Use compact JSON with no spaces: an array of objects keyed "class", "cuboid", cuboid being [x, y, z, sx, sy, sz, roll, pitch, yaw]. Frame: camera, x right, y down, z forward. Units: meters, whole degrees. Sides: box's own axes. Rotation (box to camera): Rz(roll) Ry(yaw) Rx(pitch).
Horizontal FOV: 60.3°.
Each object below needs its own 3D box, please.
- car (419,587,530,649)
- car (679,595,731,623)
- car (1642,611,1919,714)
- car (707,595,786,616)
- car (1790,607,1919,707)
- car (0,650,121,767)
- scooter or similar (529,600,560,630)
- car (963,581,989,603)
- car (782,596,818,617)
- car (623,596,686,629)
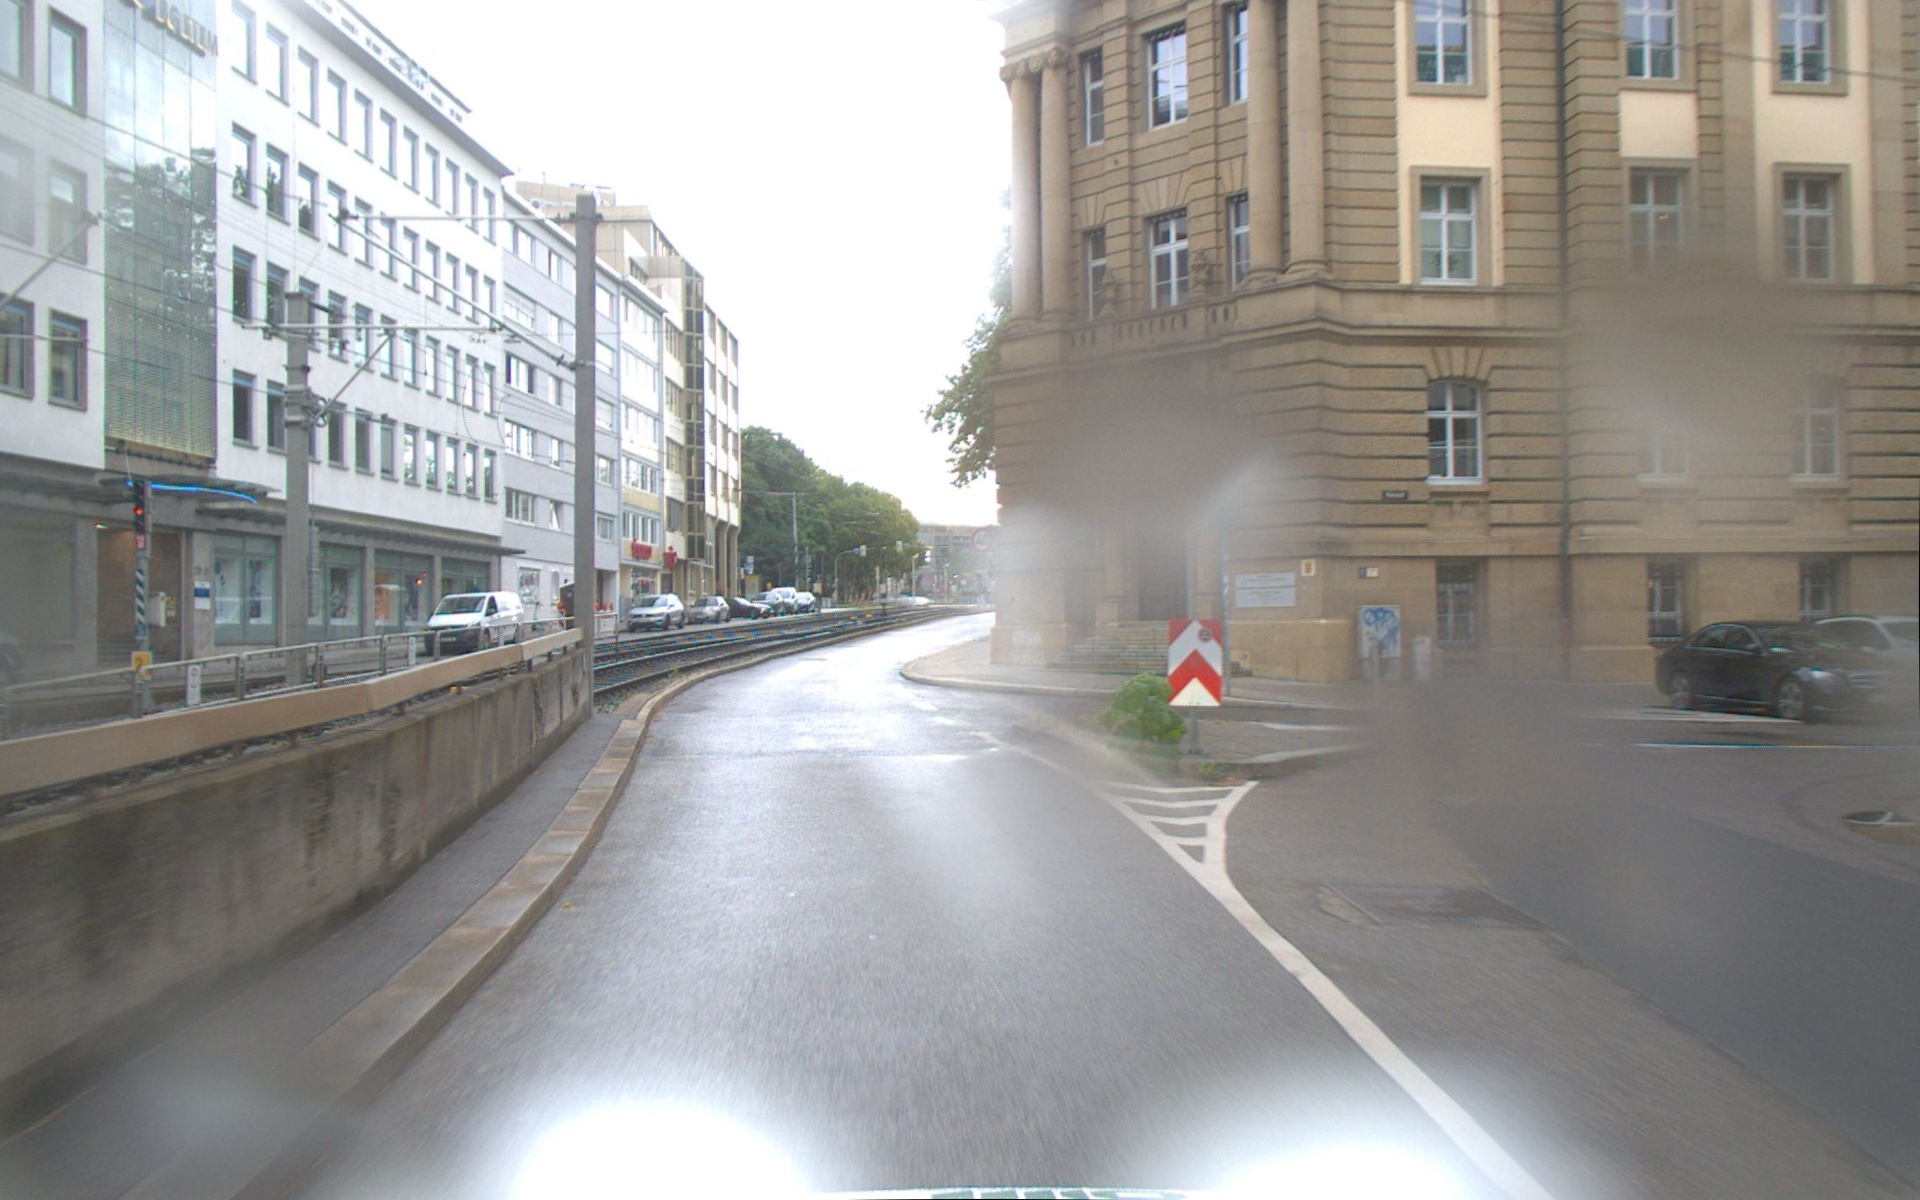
[{"class":"car","cuboid":[-15.580,0.565,53.353,1.952,1.916,4.928,0,0,2]},{"class":"car","cuboid":[-13.546,0.471,88.197,1.952,1.482,4.312,0,0,2]},{"class":"car","cuboid":[12.623,0.884,25.527,1.701,1.391,4.995,0,0,-6]},{"class":"car","cuboid":[-12.541,0.331,97.067,4.214,1.184,1.997,0,0,28]},{"class":"car","cuboid":[15.170,0.868,26.372,1.699,1.480,4.329,0,0,0]},{"class":"car","cuboid":[-14.483,1.582,24.692,1.952,1.554,3.664,0,0,2]},{"class":"scooter or similar","cuboid":[-17.785,0.638,70.795,0.749,1.241,2.066,0,0,2]},{"class":"car","cuboid":[1.284,-0.595,130.548,1.952,1.691,4.001,0,0,2]},{"class":"car","cuboid":[-11.337,0.445,117.309,1.952,1.482,4.312,0,0,2]},{"class":"car","cuboid":[-13.983,0.560,75.923,1.952,1.482,4.312,0,0,2]}]
